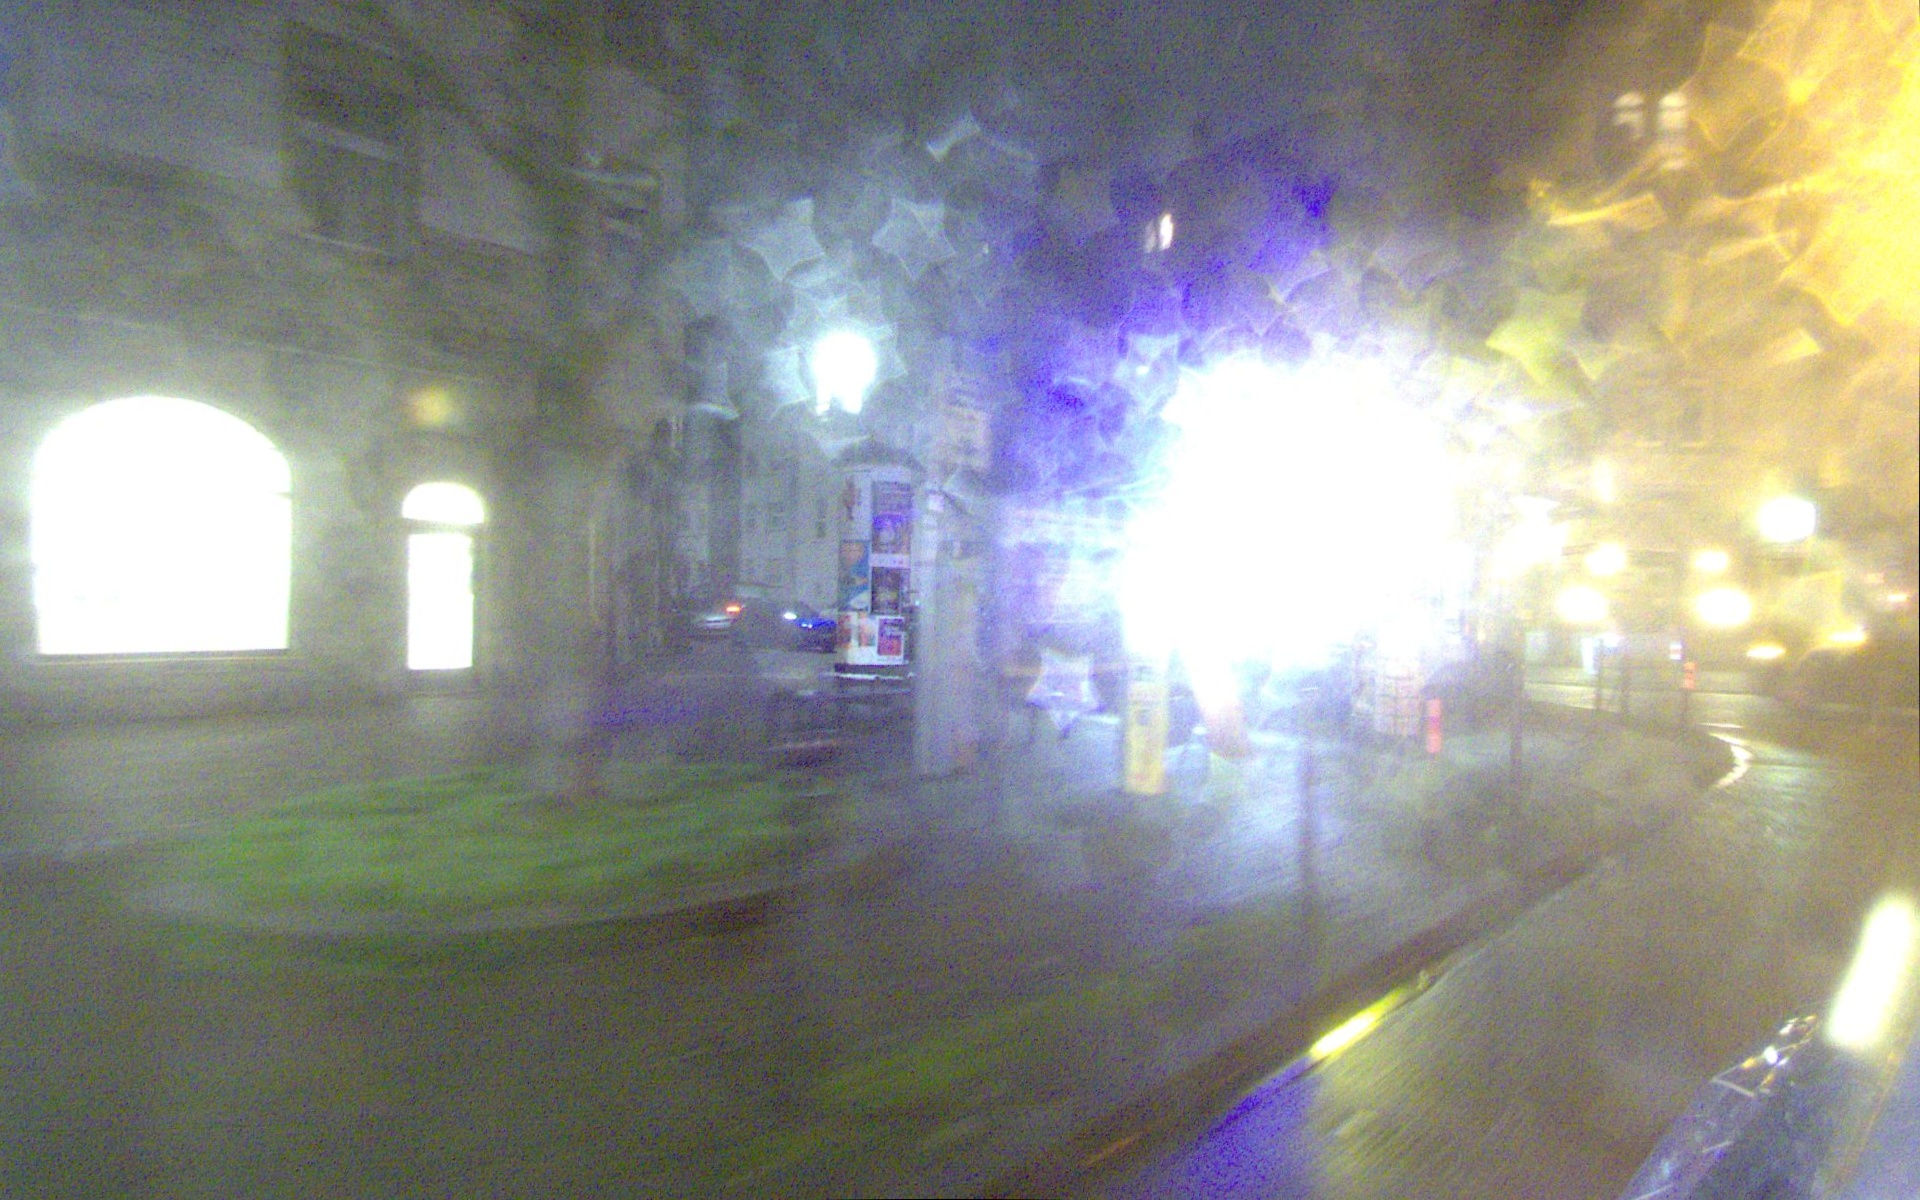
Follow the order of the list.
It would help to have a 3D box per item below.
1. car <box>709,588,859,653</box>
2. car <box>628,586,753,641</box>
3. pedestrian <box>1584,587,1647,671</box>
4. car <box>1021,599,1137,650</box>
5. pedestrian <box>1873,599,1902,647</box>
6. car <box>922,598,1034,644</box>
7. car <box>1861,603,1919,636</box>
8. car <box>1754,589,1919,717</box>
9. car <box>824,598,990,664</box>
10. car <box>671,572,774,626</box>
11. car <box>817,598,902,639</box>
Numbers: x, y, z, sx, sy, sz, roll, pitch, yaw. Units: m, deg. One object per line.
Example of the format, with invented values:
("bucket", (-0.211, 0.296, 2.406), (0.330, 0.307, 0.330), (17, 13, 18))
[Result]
("car", (-5.273, 0.555, 29.990), (4.677, 1.765, 1.971), (1, 0, 43))
("car", (-9.305, 0.434, 34.786), (4.677, 1.765, 1.971), (1, 0, 43))
("pedestrian", (14.739, 0.649, 22.760), (1.063, 1.811, 0.864), (2, 0, -41))
("car", (3.698, 0.734, 31.781), (1.582, 1.476, 3.409), (1, 0, -42))
("pedestrian", (36.302, 0.894, 39.608), (0.613, 1.811, 0.704), (2, 0, -40))
("car", (0.567, 0.687, 34.818), (1.582, 1.476, 3.972), (1, 0, -42))
("car", (51.040, 1.114, 53.770), (1.751, 1.549, 4.518), (1, 4, -44))
("car", (13.657, 0.758, 13.436), (1.886, 1.638, 4.585), (2, 1, -18))
("car", (-1.435, 0.742, 26.297), (4.405, 1.521, 1.744), (1, 0, 43))
("car", (-9.774, -0.059, 41.438), (1.970, 2.075, 4.681), (1, 0, -45))
("car", (-3.936, 0.695, 39.348), (1.582, 1.476, 3.409), (1, 0, -42))
